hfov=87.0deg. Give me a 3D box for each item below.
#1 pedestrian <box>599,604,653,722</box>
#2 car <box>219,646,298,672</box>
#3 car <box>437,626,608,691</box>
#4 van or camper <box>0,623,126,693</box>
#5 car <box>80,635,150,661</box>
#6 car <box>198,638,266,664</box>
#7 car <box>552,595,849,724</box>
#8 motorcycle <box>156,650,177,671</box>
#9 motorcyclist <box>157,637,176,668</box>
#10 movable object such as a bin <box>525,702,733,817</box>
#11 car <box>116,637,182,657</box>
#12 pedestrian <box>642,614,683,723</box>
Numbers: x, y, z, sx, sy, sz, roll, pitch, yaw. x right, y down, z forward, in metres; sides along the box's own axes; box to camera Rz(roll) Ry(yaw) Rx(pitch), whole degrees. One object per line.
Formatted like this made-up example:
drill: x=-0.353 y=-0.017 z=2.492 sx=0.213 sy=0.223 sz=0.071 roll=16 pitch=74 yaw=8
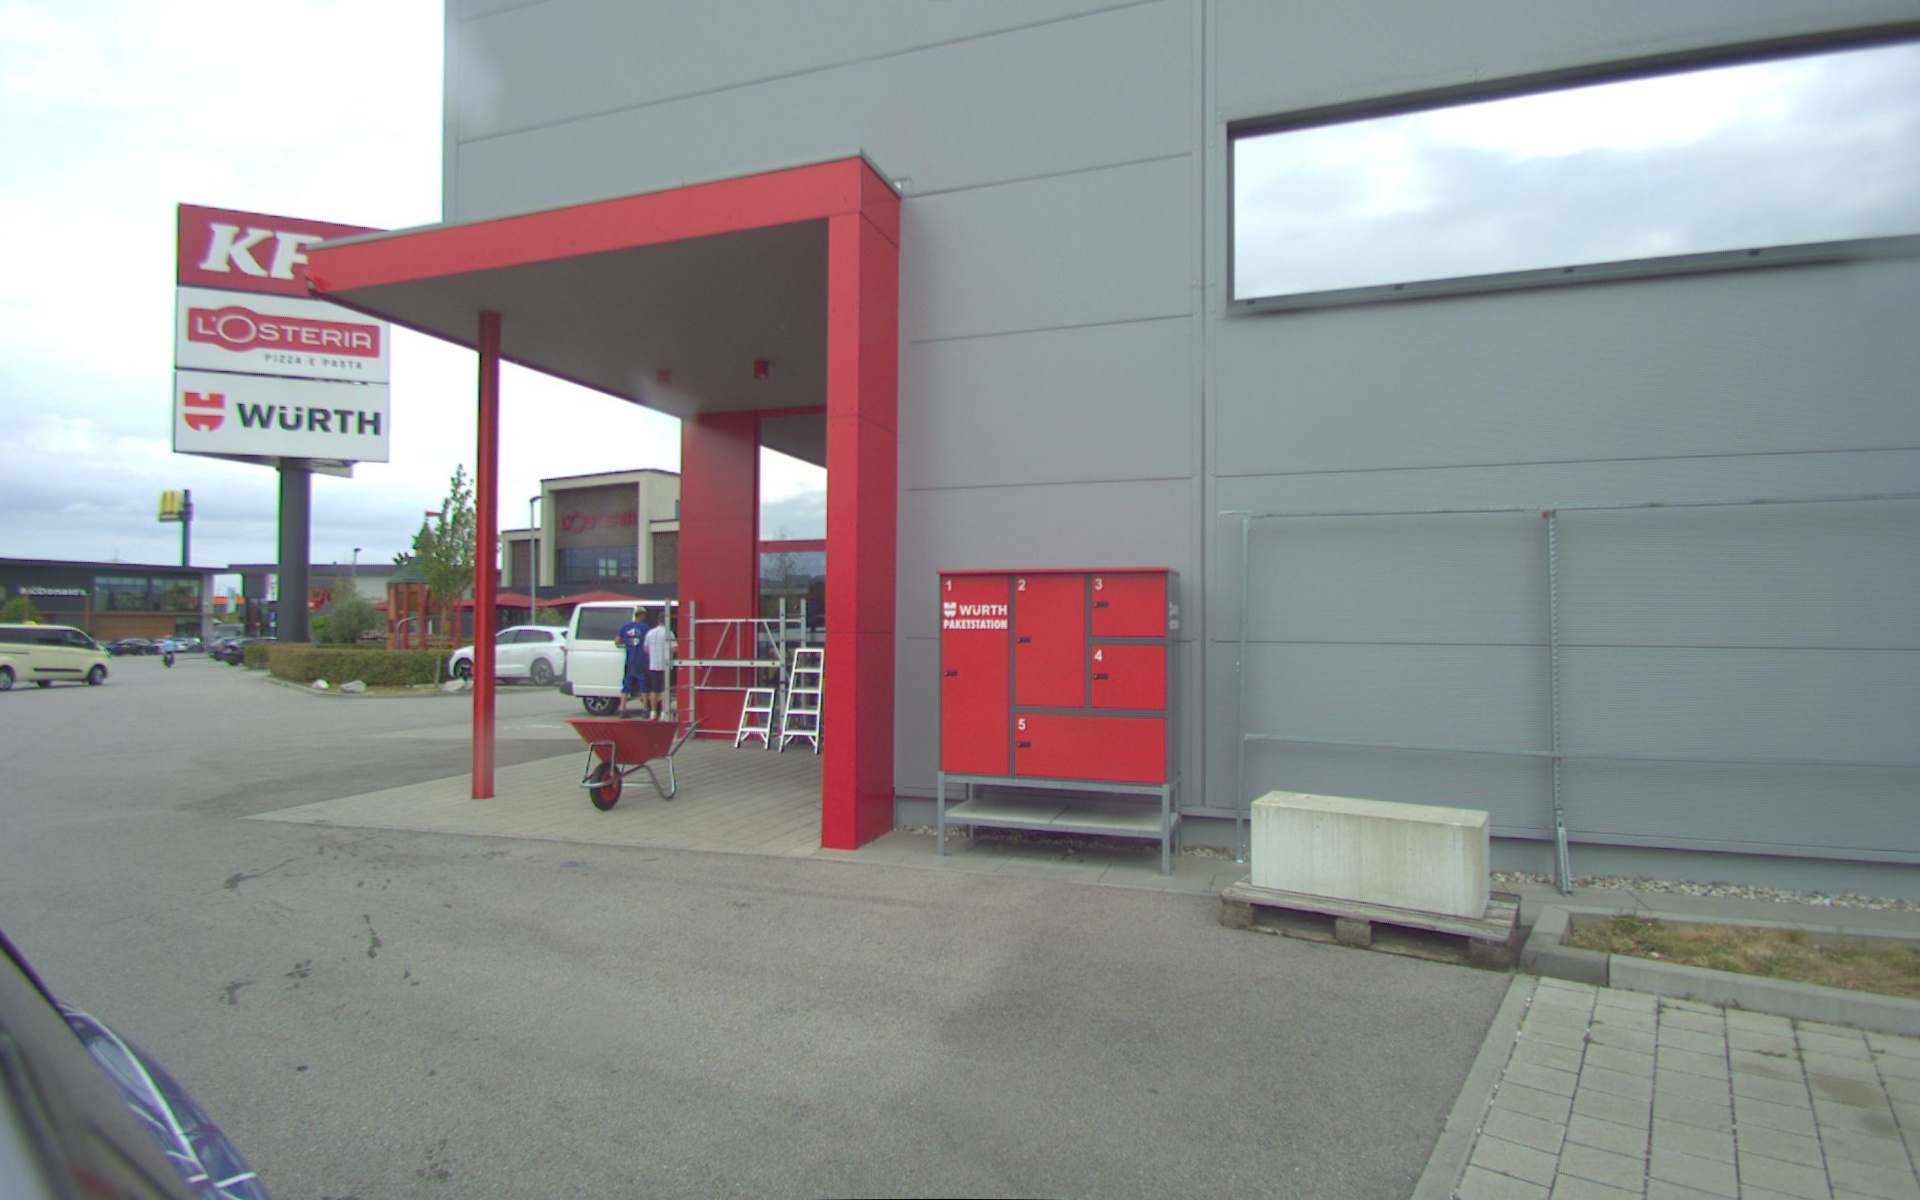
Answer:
pedestrian: x=-5.432 y=1.015 z=16.490 sx=0.620 sy=1.870 sz=0.586 roll=-1 pitch=-2 yaw=16
car: x=-39.401 y=3.308 z=56.918 sx=1.499 sy=1.305 sz=3.397 roll=-2 pitch=-2 yaw=40
car: x=-12.613 y=1.669 z=29.163 sx=4.710 sy=1.762 sz=1.745 roll=-1 pitch=-2 yaw=22
van or camper: x=-29.160 y=1.776 z=31.510 sx=1.835 sy=2.077 sz=5.228 roll=-1 pitch=-2 yaw=3
car: x=-69.596 y=3.930 z=83.370 sx=3.935 sy=2.029 sz=2.004 roll=0 pitch=-2 yaw=-11
car: x=-57.164 y=3.981 z=79.521 sx=1.996 sy=1.852 sz=3.952 roll=-2 pitch=-2 yaw=35
car: x=-4.475 y=0.999 z=17.580 sx=4.718 sy=2.029 sz=1.926 roll=-1 pitch=-2 yaw=17
motorcycle: x=-42.819 y=3.241 z=54.610 sx=0.804 sy=1.083 sz=2.153 roll=2 pitch=-3 yaw=-40
motorcyclist: x=-42.909 y=2.850 z=54.727 sx=0.742 sy=1.651 sz=1.040 roll=1 pitch=-2 yaw=-40
movable object such as a bin: x=-2.611 y=1.236 z=8.172 sx=0.797 sy=0.721 sz=1.574 roll=-1 pitch=-2 yaw=20
car: x=-69.776 y=4.035 z=87.146 sx=3.935 sy=1.674 sz=2.004 roll=0 pitch=-2 yaw=-11
pedestrian: x=-4.821 y=1.101 z=16.406 sx=0.358 sy=1.715 sz=0.581 roll=-1 pitch=-3 yaw=21
